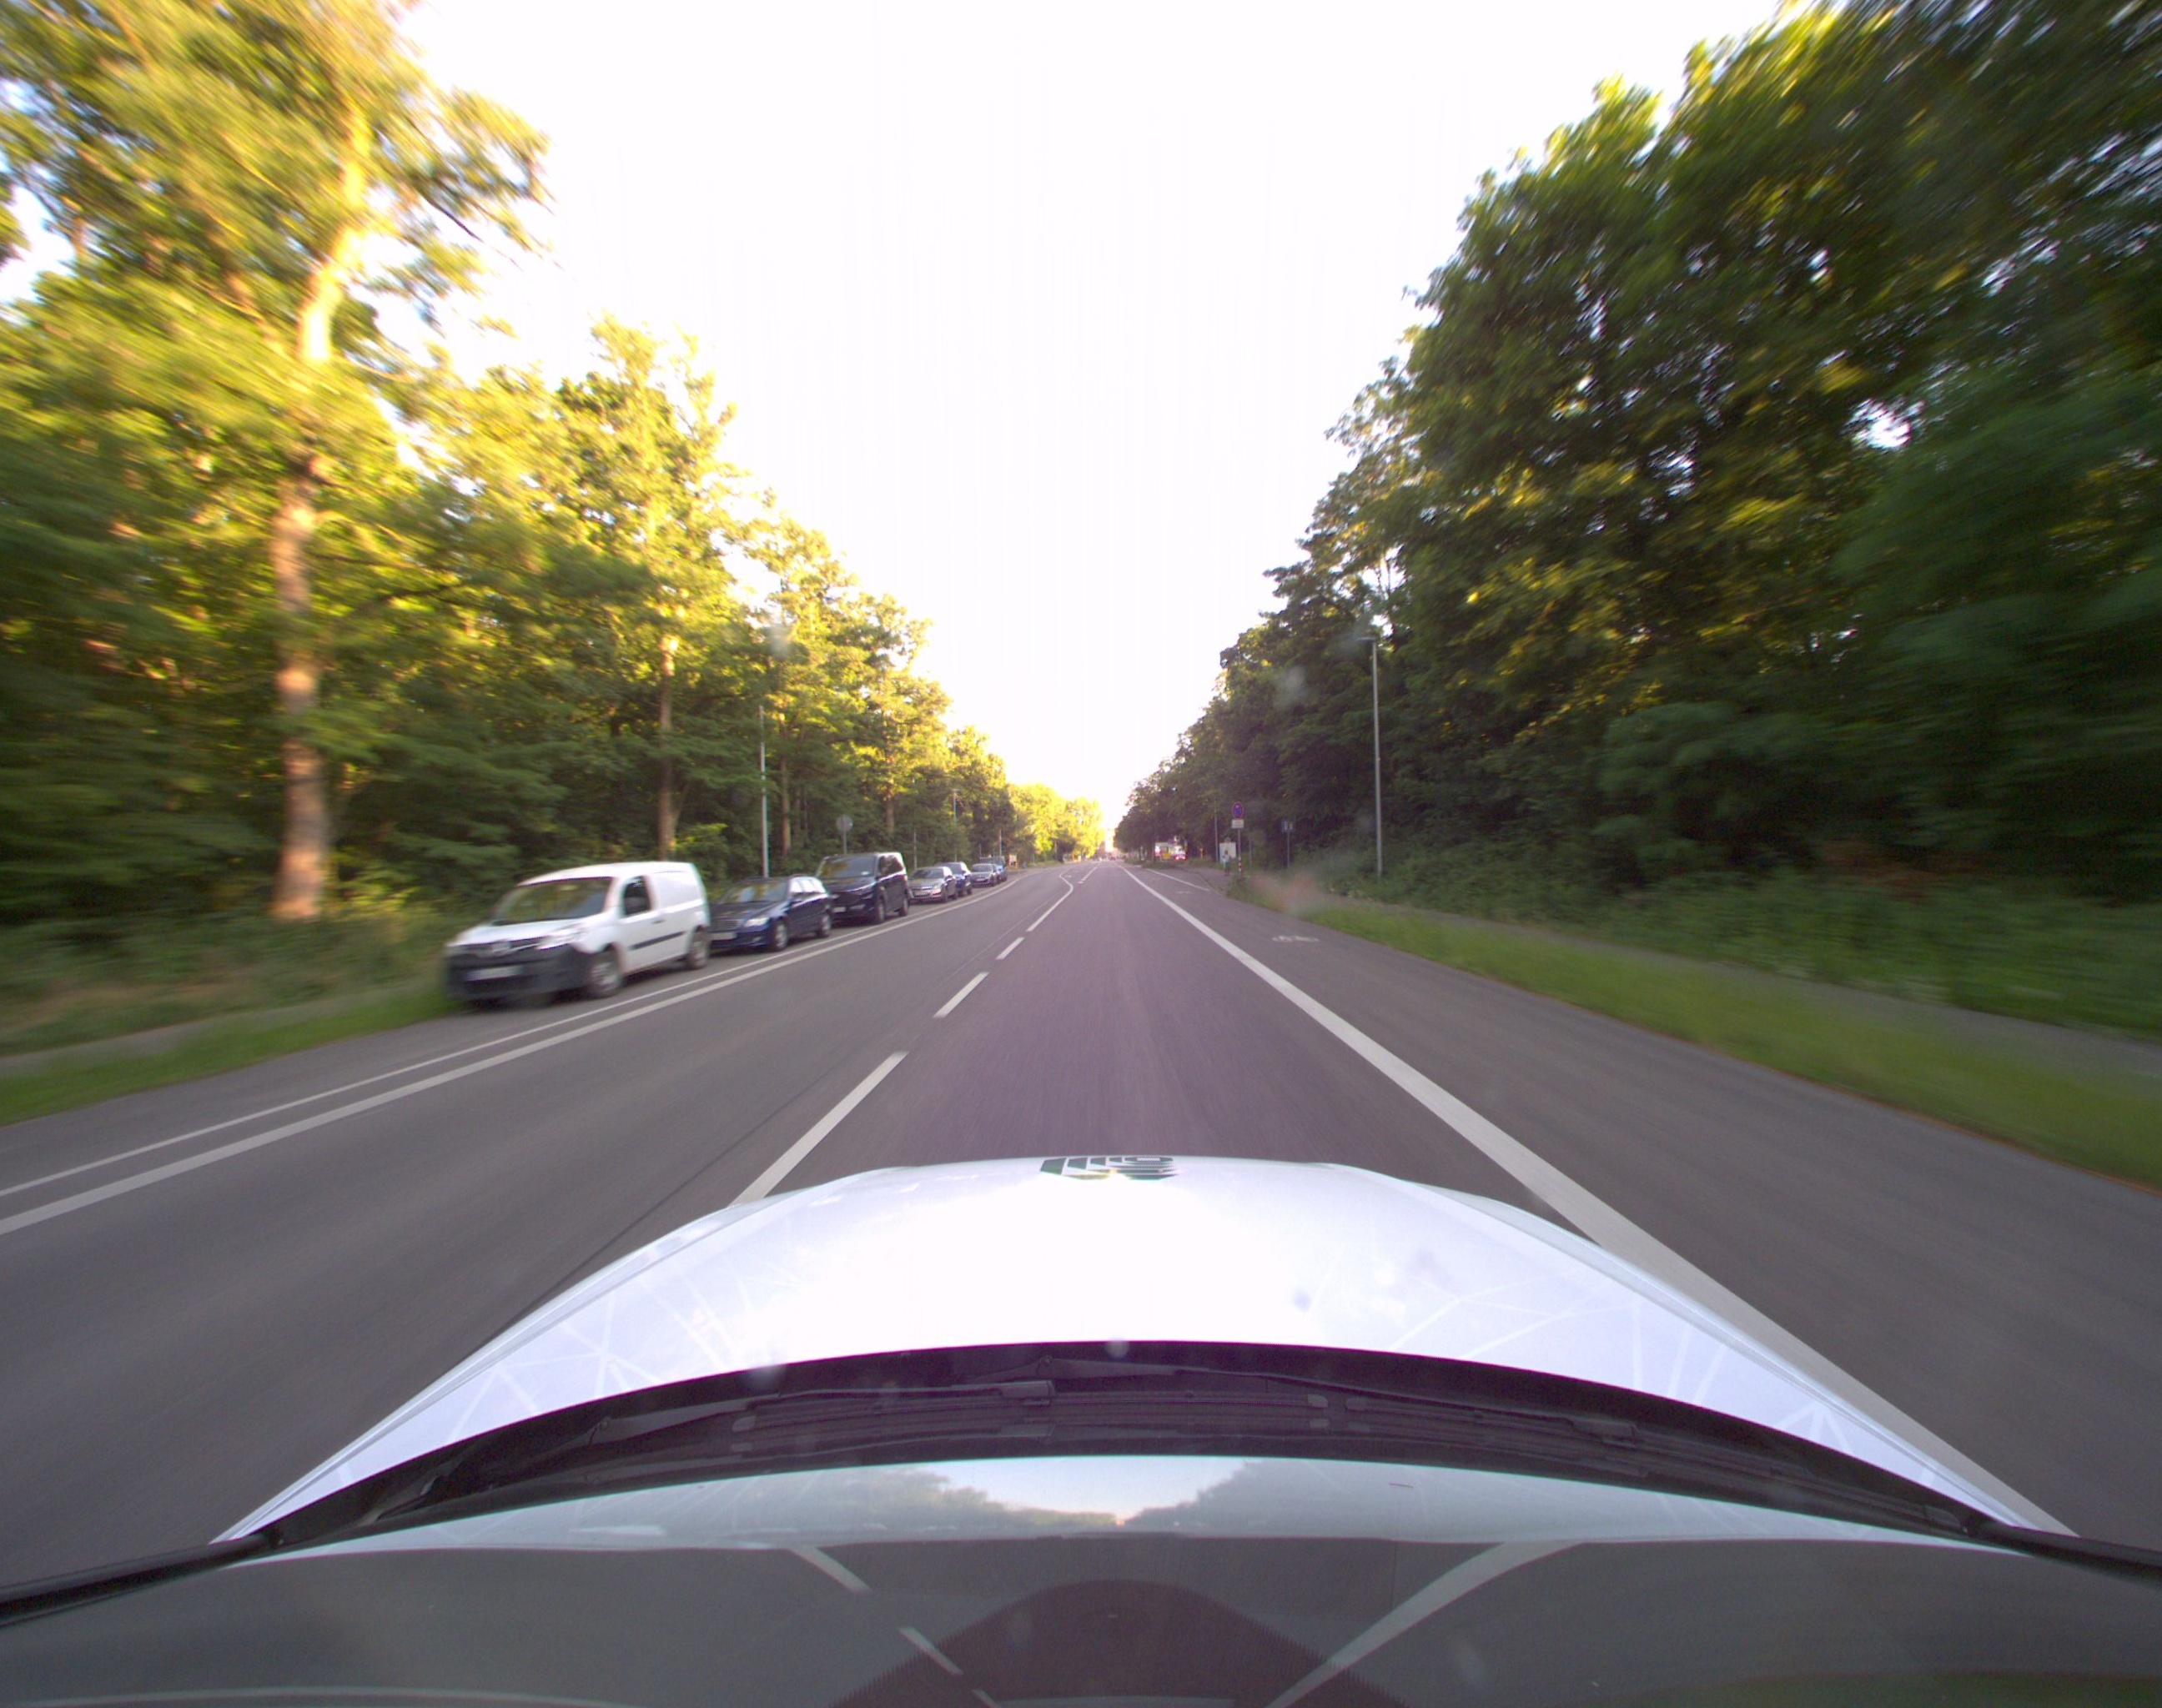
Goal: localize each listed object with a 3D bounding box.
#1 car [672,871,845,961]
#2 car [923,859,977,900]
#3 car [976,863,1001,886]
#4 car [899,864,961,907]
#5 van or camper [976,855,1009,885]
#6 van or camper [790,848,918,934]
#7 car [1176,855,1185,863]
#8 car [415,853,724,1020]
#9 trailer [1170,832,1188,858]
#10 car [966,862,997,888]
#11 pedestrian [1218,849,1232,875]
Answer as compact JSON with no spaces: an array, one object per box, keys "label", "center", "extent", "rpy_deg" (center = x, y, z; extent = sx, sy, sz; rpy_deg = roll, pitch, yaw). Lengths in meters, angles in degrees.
[{"label":"car","center":[-6.524,1.177,17.053],"extent":[1.663,1.433,4.448],"rpy_deg":[-4,0,2]},{"label":"car","center":[-6.135,1.155,38.613],"extent":[1.739,1.712,4.522],"rpy_deg":[-3,0,0]},{"label":"car","center":[-6.515,1.433,57.803],"extent":[1.540,1.493,3.965],"rpy_deg":[-3,0,-4]},{"label":"car","center":[-6.109,1.233,33.433],"extent":[1.663,1.501,4.245],"rpy_deg":[-3,0,0]},{"label":"van or camper","center":[-6.873,1.213,63.666],"extent":[2.026,2.094,5.010],"rpy_deg":[-3,0,-2]},{"label":"van or camper","center":[-6.245,0.949,23.201],"extent":[1.996,2.018,5.460],"rpy_deg":[-4,0,0]},{"label":"car","center":[20.072,1.101,164.020],"extent":[1.761,1.583,4.826],"rpy_deg":[0,-1,6]},{"label":"car","center":[-7.059,0.992,11.912],"extent":[1.683,1.858,4.385],"rpy_deg":[-4,0,-1]},{"label":"trailer","center":[21.201,-1.852,176.644],"extent":[3.008,5.462,7.940],"rpy_deg":[-2,0,3]},{"label":"car","center":[-6.340,1.318,52.139],"extent":[1.613,1.534,4.035],"rpy_deg":[-3,0,-3]},{"label":"pedestrian","center":[9.903,0.547,55.953],"extent":[0.835,1.751,0.726],"rpy_deg":[-2,-1,2]}]
